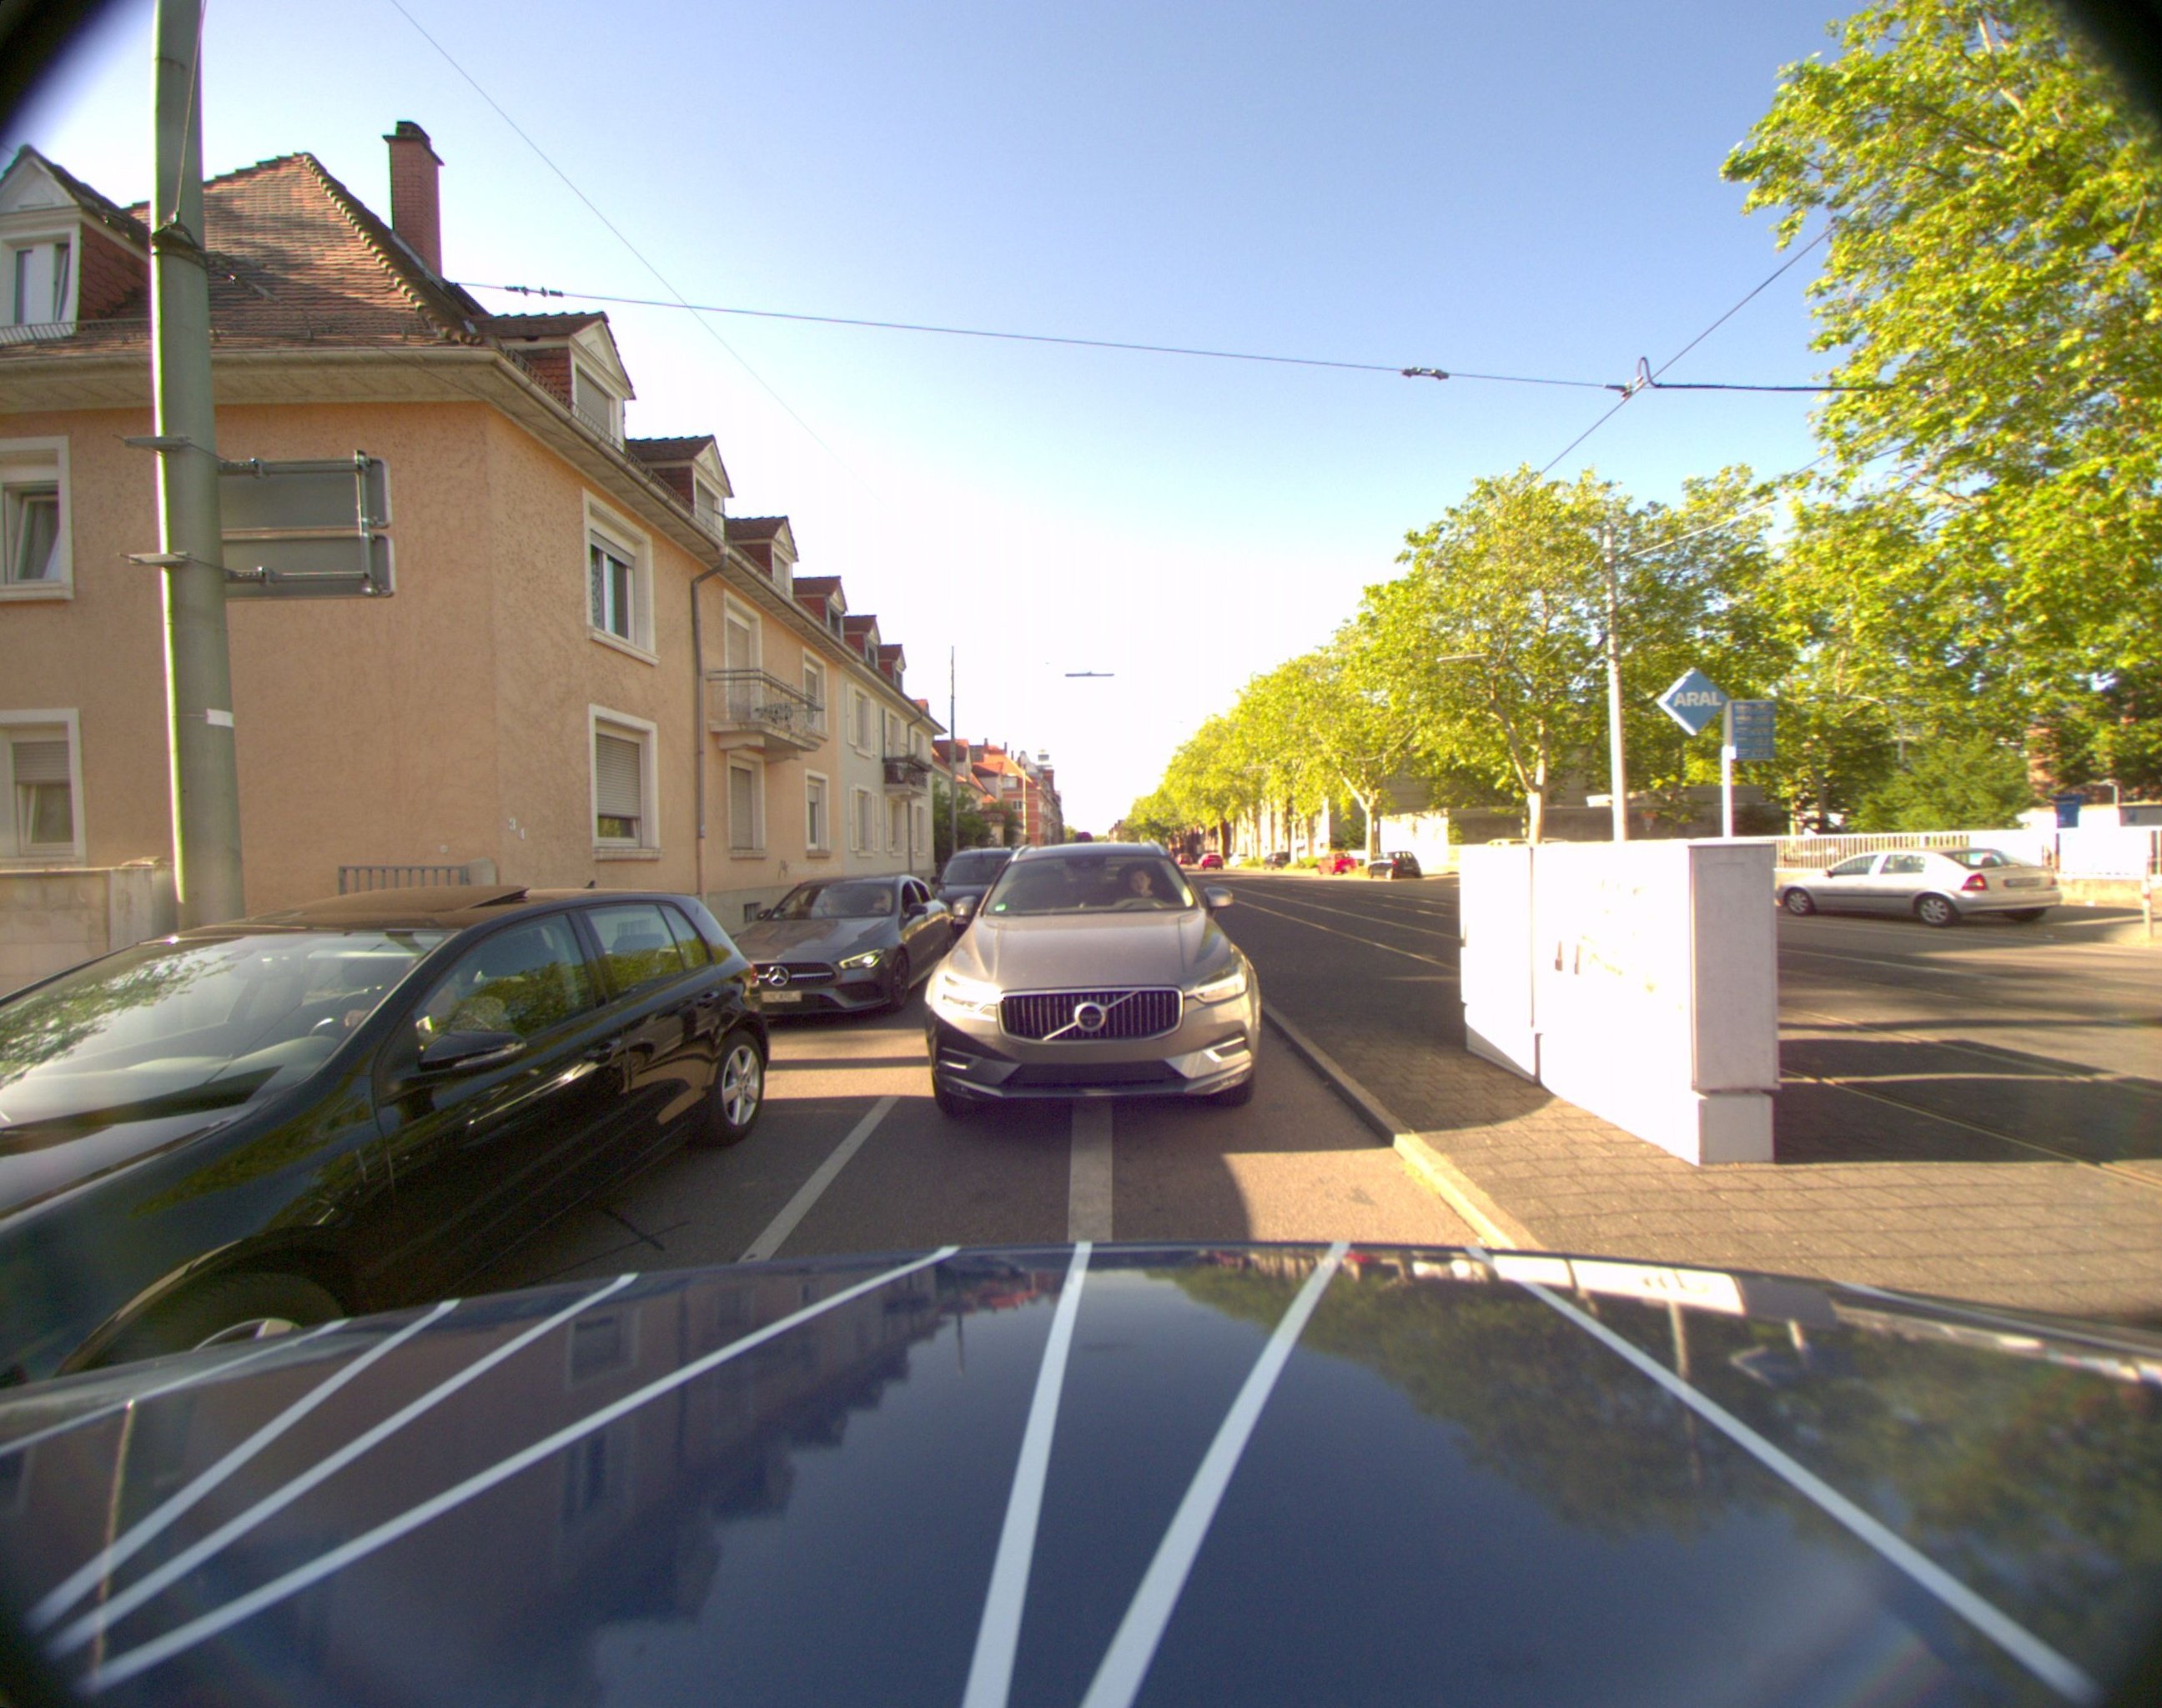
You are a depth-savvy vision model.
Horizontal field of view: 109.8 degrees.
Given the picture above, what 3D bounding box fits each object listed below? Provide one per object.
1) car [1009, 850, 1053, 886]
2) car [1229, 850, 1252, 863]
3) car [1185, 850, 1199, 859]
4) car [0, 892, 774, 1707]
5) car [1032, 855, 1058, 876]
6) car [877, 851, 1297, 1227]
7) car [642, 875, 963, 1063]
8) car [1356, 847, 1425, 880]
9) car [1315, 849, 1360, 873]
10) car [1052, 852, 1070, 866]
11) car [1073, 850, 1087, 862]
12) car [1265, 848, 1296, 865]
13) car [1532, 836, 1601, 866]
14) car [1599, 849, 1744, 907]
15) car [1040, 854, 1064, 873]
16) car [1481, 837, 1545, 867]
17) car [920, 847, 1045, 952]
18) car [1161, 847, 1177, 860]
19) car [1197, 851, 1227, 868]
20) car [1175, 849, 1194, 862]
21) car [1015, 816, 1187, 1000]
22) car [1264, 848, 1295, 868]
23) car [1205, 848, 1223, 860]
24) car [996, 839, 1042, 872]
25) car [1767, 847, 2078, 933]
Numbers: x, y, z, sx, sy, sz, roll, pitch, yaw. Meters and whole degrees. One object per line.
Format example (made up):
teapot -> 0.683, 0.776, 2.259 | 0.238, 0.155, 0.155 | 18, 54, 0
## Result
car -> -2.865, 0.751, 45.041 | 1.937, 1.888, 7.210 | -2, 1, 1
car -> 17.512, 0.254, 83.518 | 1.700, 1.401, 3.999 | -1, 1, 1
car -> 18.326, 0.029, 125.556 | 1.700, 1.401, 3.999 | -1, 1, 1
car -> -2.750, 0.964, 2.514 | 1.733, 1.499, 4.051 | -2, -1, 1
car -> -2.831, 0.886, 60.585 | 1.841, 1.449, 3.999 | -2, 1, 1
car -> 0.037, 0.866, 5.951 | 1.912, 1.666, 4.763 | -2, 1, 0
car -> -2.784, 1.069, 8.878 | 1.911, 1.411, 4.492 | -2, 1, 2
car -> 16.662, 0.469, 41.147 | 1.753, 1.514, 4.434 | -5, 1, -1
car -> 16.948, 0.415, 50.346 | 1.700, 1.460, 3.999 | -1, 1, 1
car -> -2.187, 0.585, 85.431 | 1.841, 1.449, 3.999 | -2, 1, 1
car -> -0.164, 0.273, 106.484 | 1.841, 1.449, 3.999 | -2, 1, 1
car -> 17.281, 0.231, 65.910 | 1.700, 1.401, 3.999 | -1, 1, 1
car -> 24.041, -0.163, 37.719 | 1.545, 1.412, 3.151 | -2, 1, 4
car -> 16.377, 0.609, 21.269 | 1.546, 1.412, 3.254 | -2, 1, 1
car -> -2.535, 0.803, 66.994 | 1.841, 1.449, 3.999 | -2, 1, 1
car -> 21.716, -0.109, 38.331 | 1.545, 1.412, 3.151 | -2, 1, 4
car -> -1.864, 0.792, 15.906 | 1.866, 1.794, 4.778 | -2, 1, 1
car -> 13.370, -0.054, 115.161 | 1.850, 1.835, 4.394 | -1, 1, -1
car -> 12.220, 0.471, 71.085 | 1.912, 1.514, 4.763 | 0, 1, 0
car -> 12.719, 0.112, 93.378 | 1.700, 1.412, 3.999 | 4, 1, 1
car -> 0.236, 0.596, 11.118 | 1.912, 2.048, 4.763 | -2, 1, 0
car -> 17.164, 0.324, 65.990 | 1.700, 1.566, 3.999 | -1, 1, 1
car -> 17.658, 0.013, 100.779 | 1.700, 1.548, 3.999 | -1, 1, 1
car -> -3.010, 0.045, 37.482 | 1.841, 1.449, 3.999 | -2, 1, 1
car -> 16.212, 0.594, 15.008 | 1.731, 1.412, 3.999 | -2, 1, 1
